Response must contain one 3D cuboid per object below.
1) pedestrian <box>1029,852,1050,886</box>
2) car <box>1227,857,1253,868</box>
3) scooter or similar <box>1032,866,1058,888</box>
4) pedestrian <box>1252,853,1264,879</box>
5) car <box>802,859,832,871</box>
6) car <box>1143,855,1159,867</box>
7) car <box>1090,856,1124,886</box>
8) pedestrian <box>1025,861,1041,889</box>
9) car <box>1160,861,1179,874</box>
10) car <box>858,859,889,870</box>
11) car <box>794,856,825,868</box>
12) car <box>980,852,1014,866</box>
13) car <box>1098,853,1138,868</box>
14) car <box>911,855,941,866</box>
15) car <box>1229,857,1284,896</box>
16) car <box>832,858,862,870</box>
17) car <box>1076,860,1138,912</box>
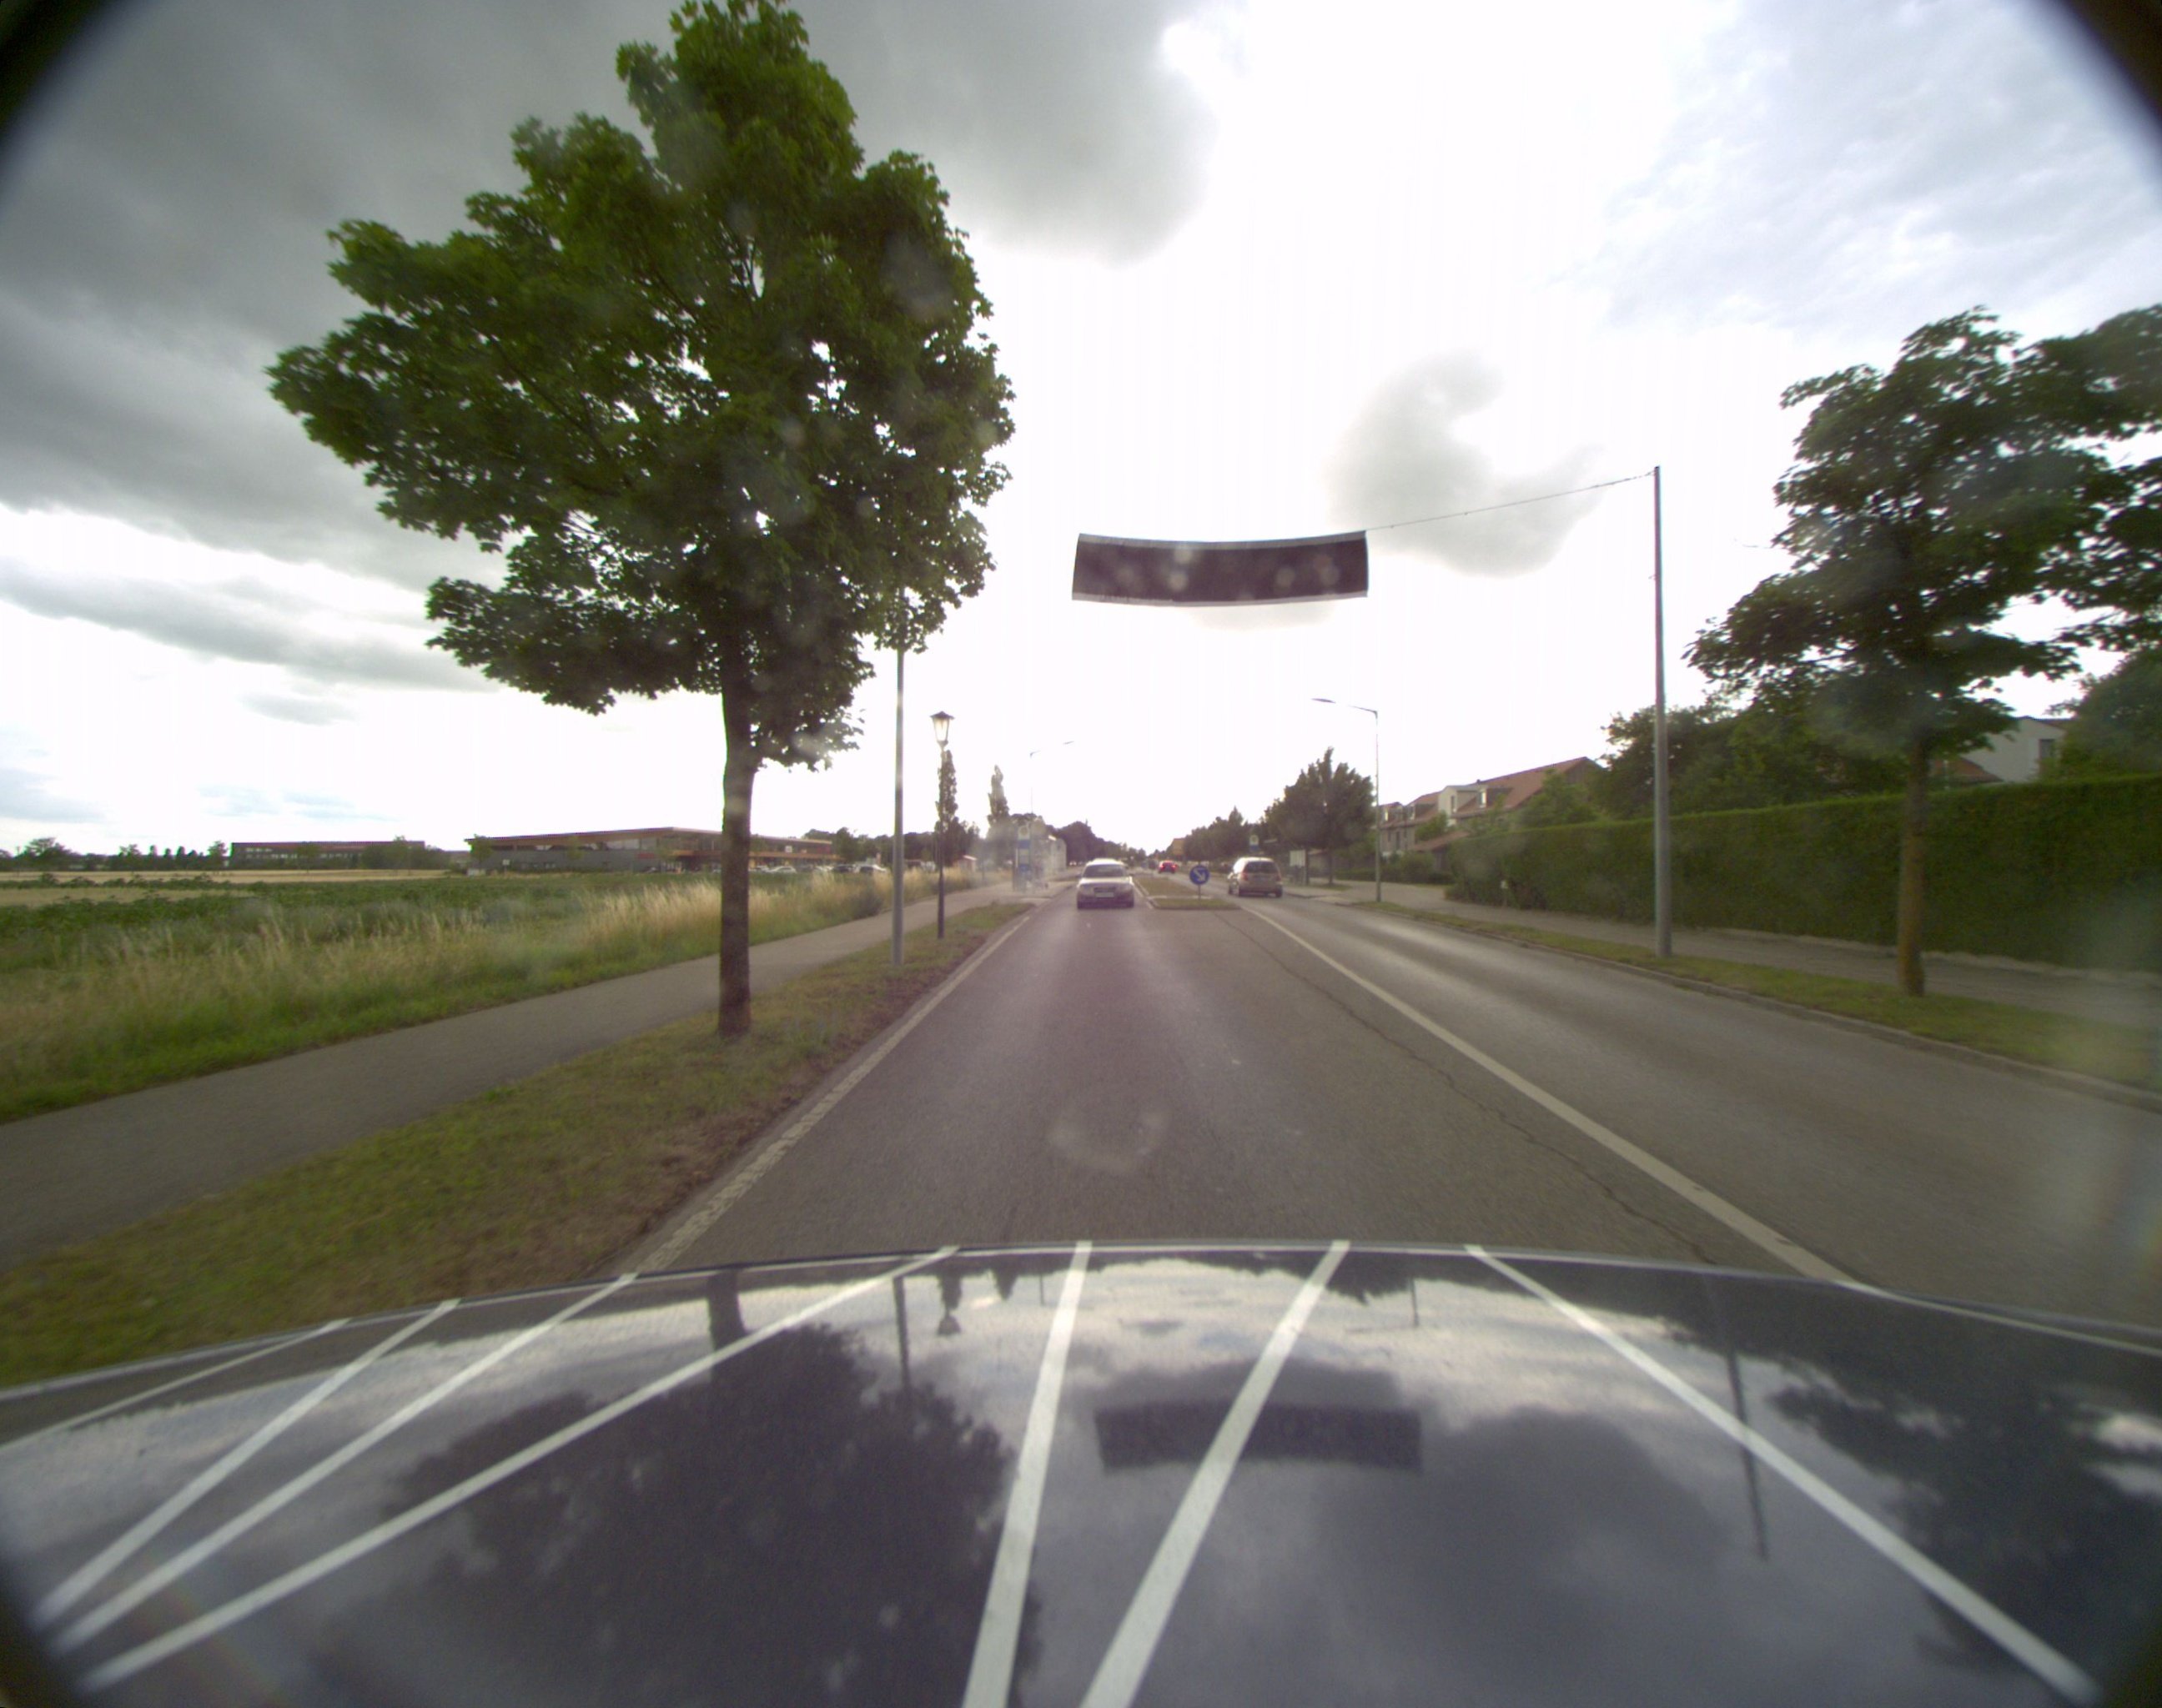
[{"bbox_3d":[-2.212,0.803,40.947,0.782,1.782,0.780,-2,1,23],"label":"pedestrian"},{"bbox_3d":[29.850,1.566,142.520,4.567,2.002,2.001,-2,1,7],"label":"car"},{"bbox_3d":[-1.762,1.125,37.564,0.707,1.056,1.062,-2,1,39],"label":"scooter or similar"},{"bbox_3d":[10.978,0.731,47.109,0.589,1.626,0.813,0,0,2],"label":"pedestrian"},{"bbox_3d":[-49.543,2.126,142.521,4.857,2.002,1.999,-2,1,-6],"label":"car"},{"bbox_3d":[12.622,1.335,138.080,2.560,2.002,5.318,-2,0,2],"label":"car"},{"bbox_3d":[1.454,0.908,43.061,1.763,1.495,4.691,-2,0,2],"label":"car"},{"bbox_3d":[-2.328,1.015,37.072,0.666,1.295,0.505,-2,1,3],"label":"pedestrian"},{"bbox_3d":[10.401,1.542,89.794,1.924,1.445,4.497,0,0,3],"label":"car"},{"bbox_3d":[-42.160,2.038,154.476,5.526,2.002,1.999,-2,1,-4],"label":"car"},{"bbox_3d":[-48.602,1.429,136.059,4.857,2.002,1.999,-2,1,-6],"label":"car"},{"bbox_3d":[-13.730,0.848,124.439,5.526,2.002,1.999,-2,1,-4],"label":"car"},{"bbox_3d":[5.305,0.887,109.500,5.317,2.002,1.999,-2,1,-7],"label":"car"},{"bbox_3d":[-30.385,1.256,149.014,5.526,2.002,1.999,-2,1,-4],"label":"car"},{"bbox_3d":[7.236,0.887,31.594,1.711,1.523,3.509,1,0,4],"label":"car"},{"bbox_3d":[-42.904,1.889,139.111,4.857,2.002,1.999,-2,1,-6],"label":"car"},{"bbox_3d":[0.851,0.957,24.670,1.763,1.410,4.521,-2,0,2],"label":"car"}]
